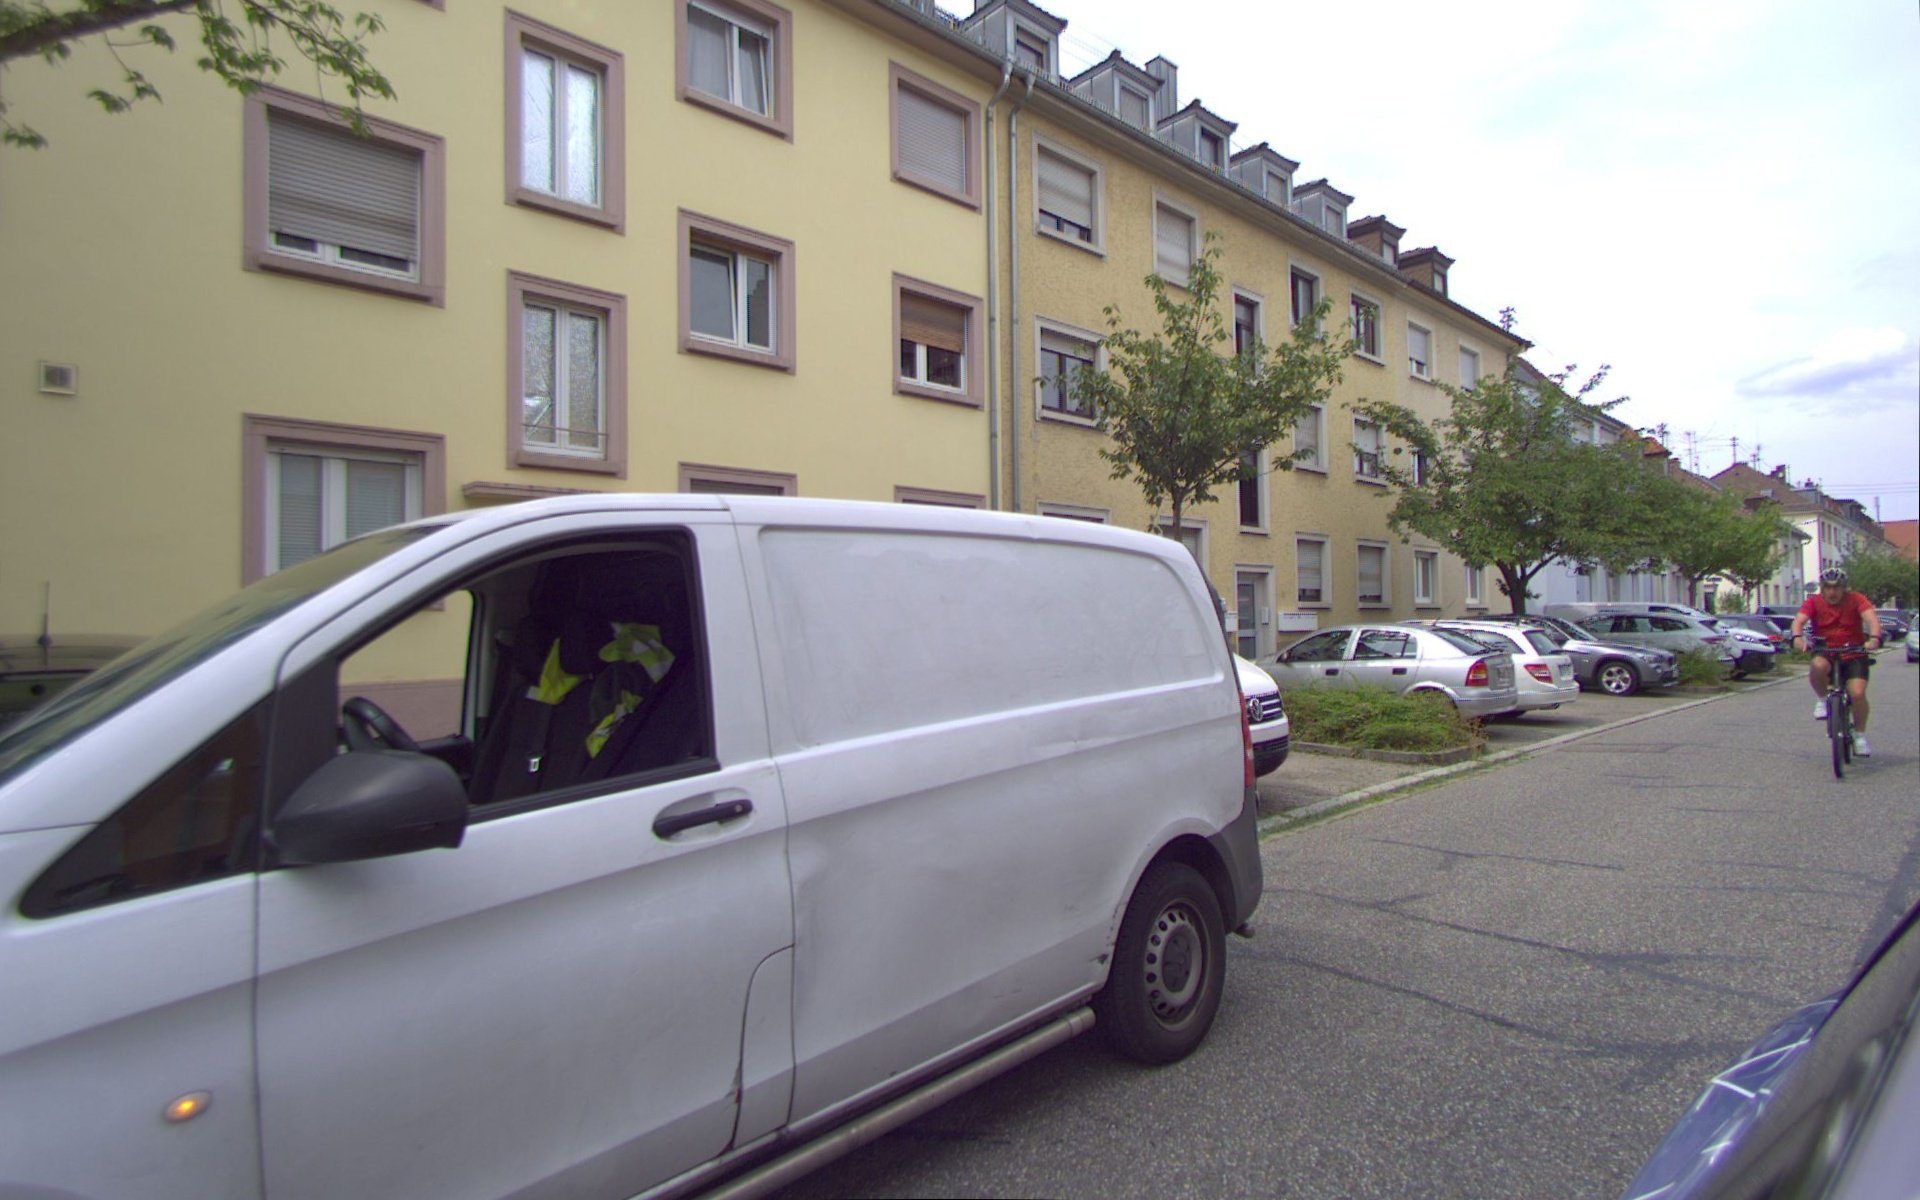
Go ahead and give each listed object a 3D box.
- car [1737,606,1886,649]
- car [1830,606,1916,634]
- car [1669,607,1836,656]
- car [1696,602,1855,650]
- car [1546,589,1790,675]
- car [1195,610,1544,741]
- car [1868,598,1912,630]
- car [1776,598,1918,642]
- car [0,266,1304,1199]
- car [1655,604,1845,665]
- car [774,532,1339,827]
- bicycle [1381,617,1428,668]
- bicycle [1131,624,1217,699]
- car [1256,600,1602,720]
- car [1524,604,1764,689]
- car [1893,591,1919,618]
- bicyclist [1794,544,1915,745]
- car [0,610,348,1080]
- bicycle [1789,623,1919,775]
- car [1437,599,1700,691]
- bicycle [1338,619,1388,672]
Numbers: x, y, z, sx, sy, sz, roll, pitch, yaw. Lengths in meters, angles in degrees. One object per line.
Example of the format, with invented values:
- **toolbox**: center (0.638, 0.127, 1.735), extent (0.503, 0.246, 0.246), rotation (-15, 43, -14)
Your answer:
- **car**: center (34.295, 1.058, 40.849), extent (1.839, 1.556, 4.398), rotation (0, 1, -42)
- **car**: center (50.619, 1.114, 56.133), extent (3.432, 1.466, 1.621), rotation (-3, -2, 45)
- **car**: center (27.553, 1.040, 35.303), extent (1.682, 1.519, 4.396), rotation (0, 1, -43)
- **car**: center (30.868, 0.938, 38.408), extent (1.836, 1.632, 4.405), rotation (0, 1, -37)
- **car**: center (17.565, 0.709, 25.306), extent (1.819, 1.934, 4.744), rotation (0, 1, -42)
- **car**: center (5.494, 0.896, 13.935), extent (1.820, 1.432, 4.096), rotation (0, 1, -44)
- **car**: center (55.361, 0.843, 60.246), extent (3.385, 1.851, 1.643), rotation (0, -2, -43)
- **car**: center (40.319, 0.857, 46.089), extent (1.839, 1.850, 4.714), rotation (0, 1, -42)
- **car**: center (-1.038, 0.549, 3.024), extent (4.627, 1.940, 1.994), rotation (0, -3, -45)
- **car**: center (22.644, 0.929, 29.122), extent (1.682, 1.556, 4.113), rotation (0, 1, -43)
- **car**: center (0.611, 0.515, 9.591), extent (5.229, 2.048, 2.041), rotation (1, 1, 44)
- **bicycle**: center (10.772, 1.015, 24.503), extent (1.609, 1.154, 0.479), rotation (0, 0, -45)
- **bicycle**: center (3.843, 1.067, 18.084), extent (1.845, 1.214, 0.586), rotation (0, 0, -45)
- **car**: center (7.110, 0.795, 15.718), extent (1.820, 1.529, 4.550), rotation (0, 1, -44)
- **car**: center (15.675, 0.975, 23.378), extent (1.819, 1.705, 4.313), rotation (0, 1, -42)
- **car**: center (60.753, 0.281, 64.464), extent (3.385, 1.698, 1.643), rotation (0, -2, -43)
- **bicyclist**: center (8.469, 0.403, 9.581), extent (0.970, 1.793, 0.692), rotation (0, -2, -43)
- **car**: center (-4.460, 0.893, 5.013), extent (1.784, 1.594, 3.482), rotation (0, 1, -43)
- **bicycle**: center (8.437, 0.869, 9.526), extent (1.904, 1.243, 0.692), rotation (0, -2, -43)
- **car**: center (12.331, 0.820, 20.722), extent (1.819, 1.618, 4.313), rotation (0, 1, -42)
- **bicycle**: center (9.279, 1.025, 23.261), extent (1.609, 1.154, 0.479), rotation (0, 0, -45)
